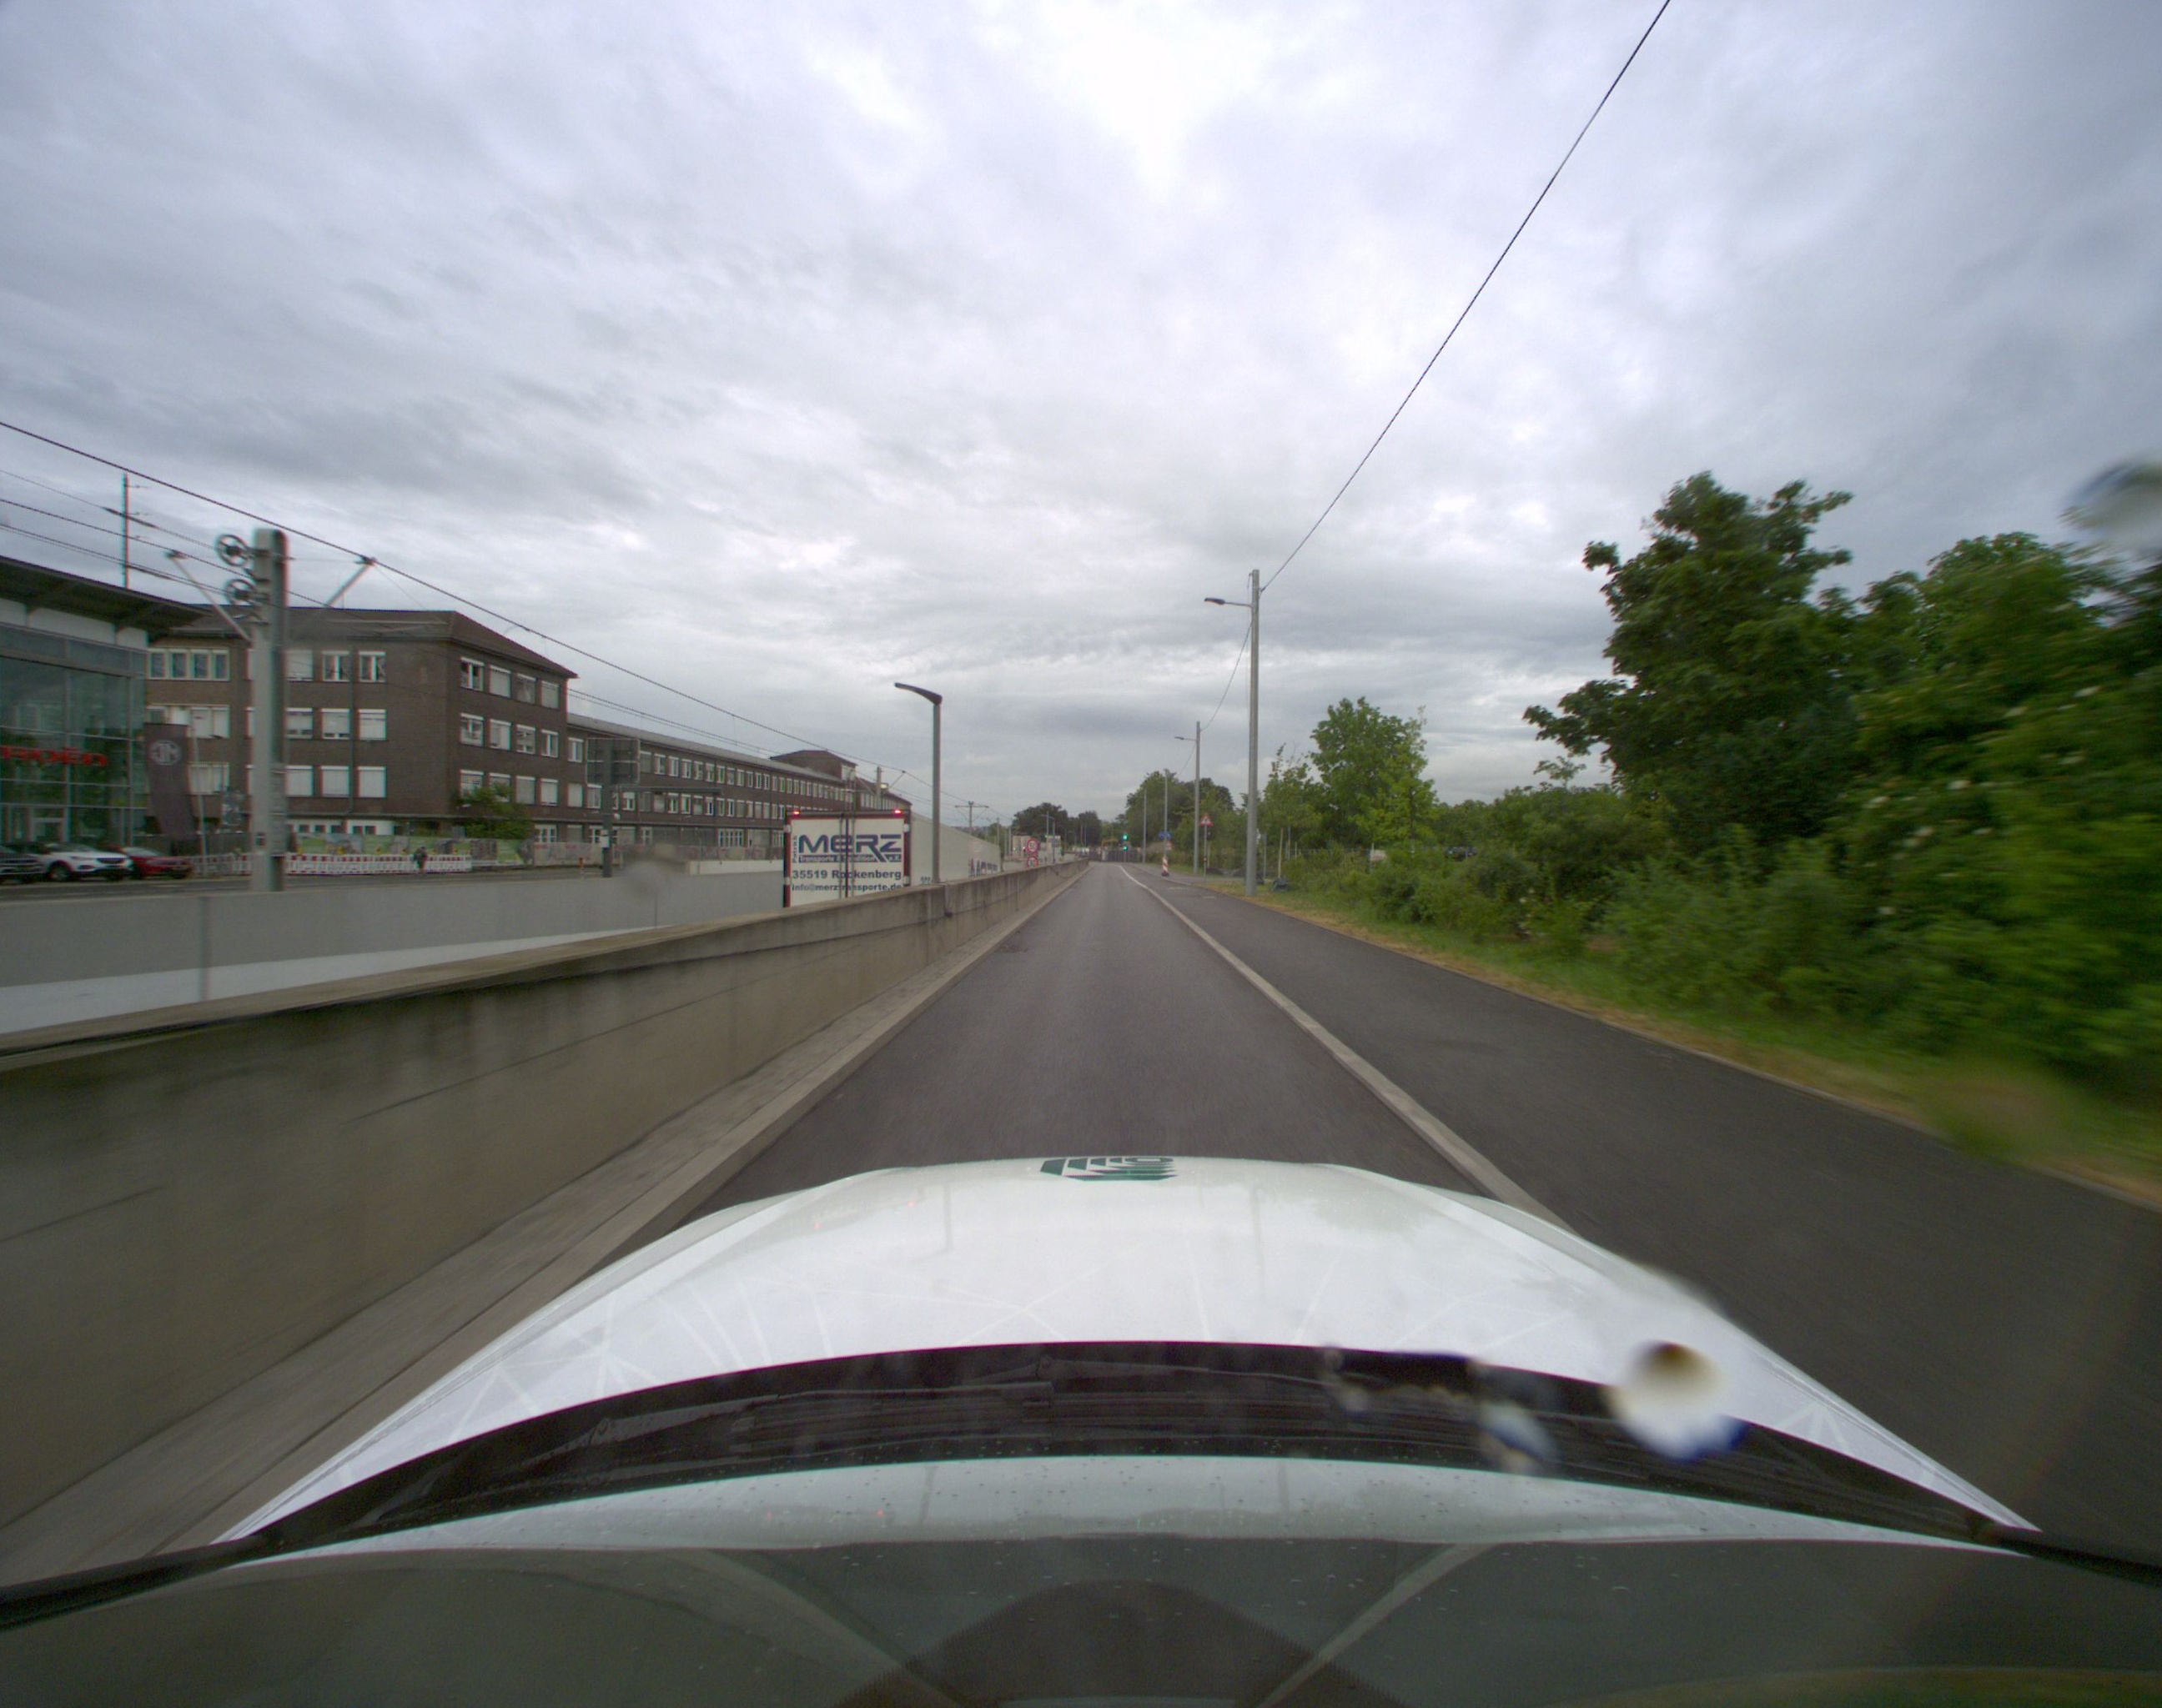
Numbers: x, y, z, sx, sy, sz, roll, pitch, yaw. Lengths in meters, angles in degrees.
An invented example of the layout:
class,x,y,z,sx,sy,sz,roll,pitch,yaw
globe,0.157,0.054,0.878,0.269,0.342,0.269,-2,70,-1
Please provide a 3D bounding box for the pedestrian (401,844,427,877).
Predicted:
class,x,y,z,sx,sy,sz,roll,pitch,yaw
pedestrian,-35.033,0.338,42.774,0.613,1.750,0.840,0,0,2

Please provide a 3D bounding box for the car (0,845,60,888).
class,x,y,z,sx,sy,sz,roll,pitch,yaw
car,-38.529,0.432,28.485,3.467,1.474,1.751,0,0,1

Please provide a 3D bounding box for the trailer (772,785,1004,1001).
class,x,y,z,sx,sy,sz,roll,pitch,yaw
trailer,-4.470,0.767,22.781,2.751,4.252,13.191,-1,0,2

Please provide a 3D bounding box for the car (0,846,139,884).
class,x,y,z,sx,sy,sz,roll,pitch,yaw
car,-38.593,0.422,31.006,3.467,1.397,1.751,0,0,1

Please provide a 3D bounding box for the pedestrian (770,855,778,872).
class,x,y,z,sx,sy,sz,roll,pitch,yaw
pedestrian,-36.471,1.143,96.746,0.669,2.014,0.652,0,-1,-1

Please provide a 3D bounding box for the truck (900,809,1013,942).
class,x,y,z,sx,sy,sz,roll,pitch,yaw
truck,-4.234,0.691,29.124,2.745,4.205,6.310,-1,0,2

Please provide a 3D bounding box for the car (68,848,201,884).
class,x,y,z,sx,sy,sz,roll,pitch,yaw
car,-38.811,0.482,33.463,3.470,1.382,1.617,-1,0,-2
